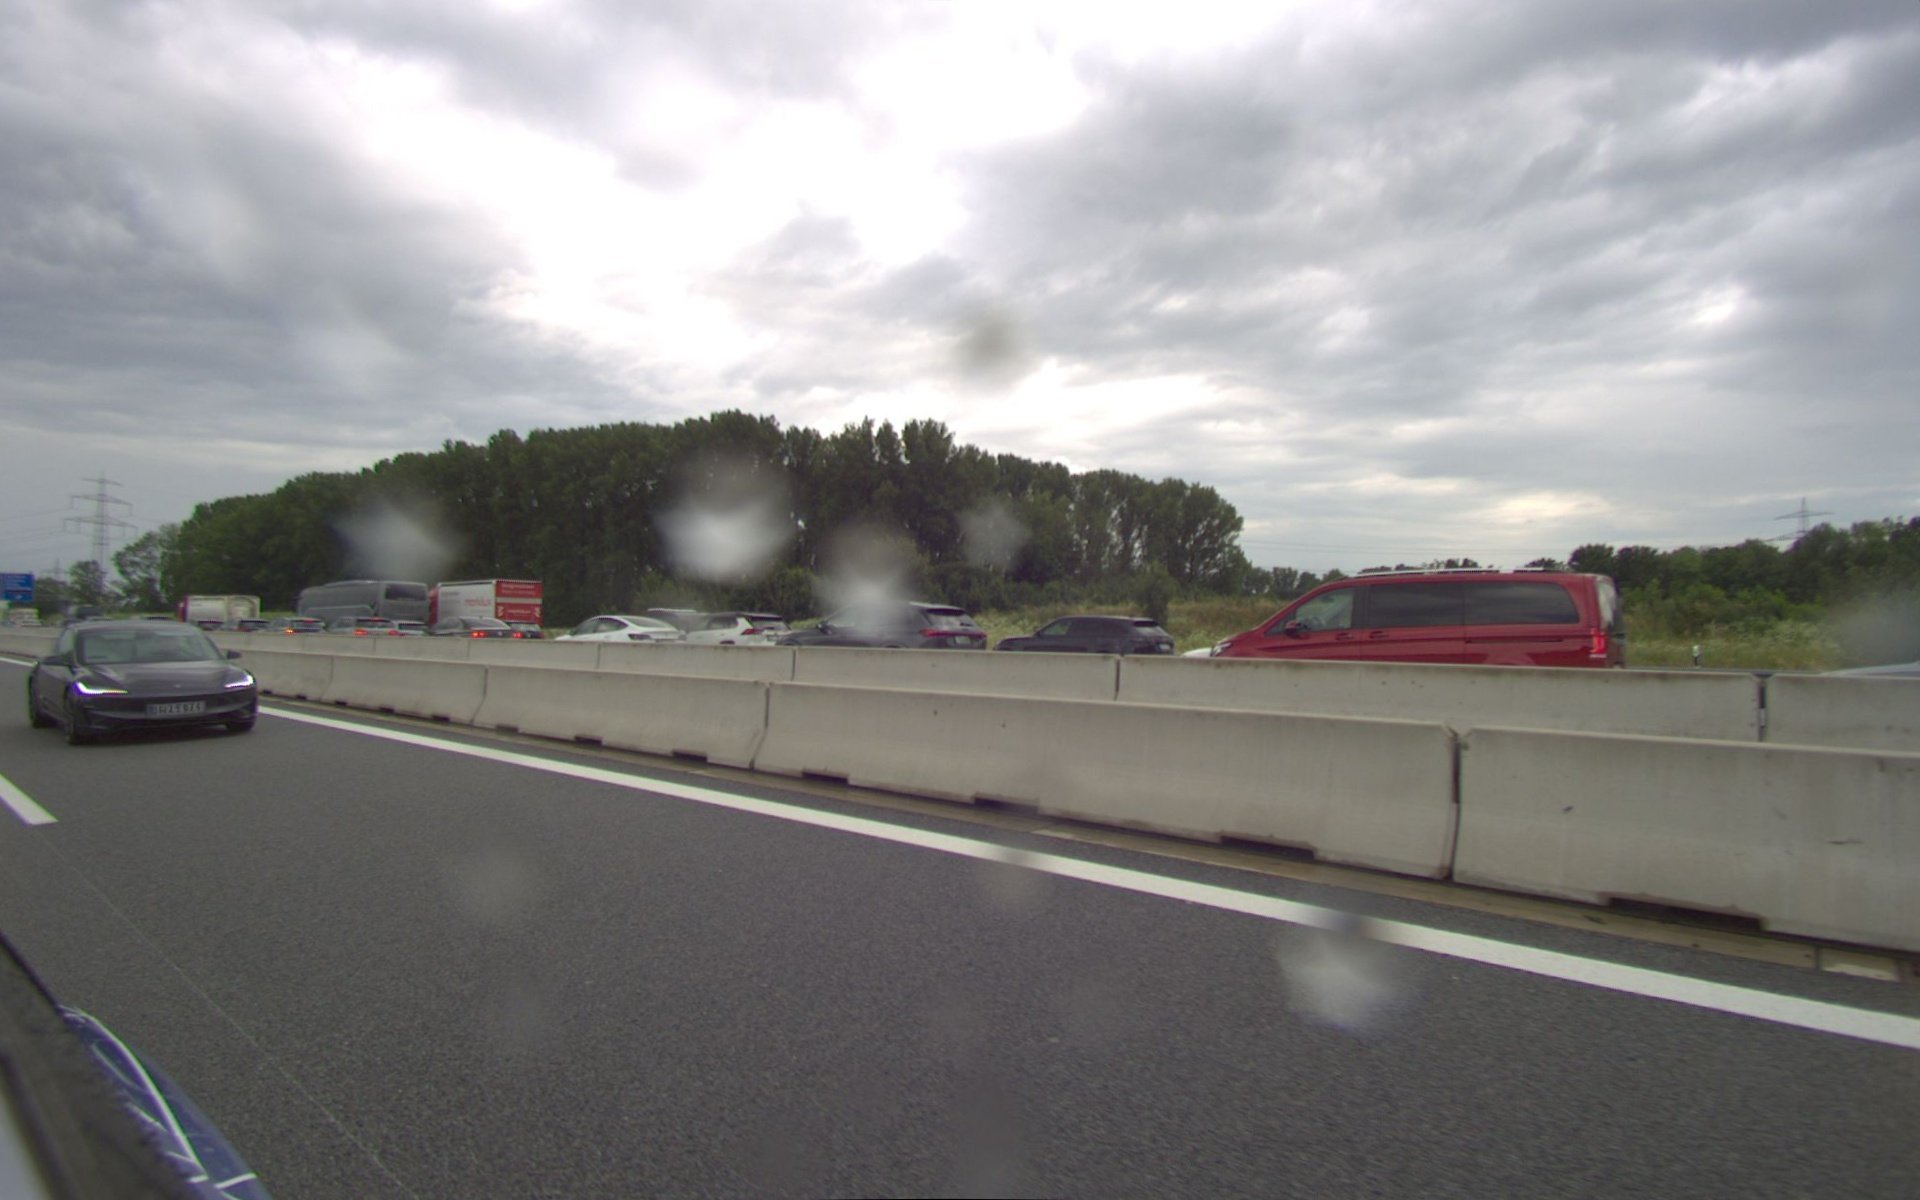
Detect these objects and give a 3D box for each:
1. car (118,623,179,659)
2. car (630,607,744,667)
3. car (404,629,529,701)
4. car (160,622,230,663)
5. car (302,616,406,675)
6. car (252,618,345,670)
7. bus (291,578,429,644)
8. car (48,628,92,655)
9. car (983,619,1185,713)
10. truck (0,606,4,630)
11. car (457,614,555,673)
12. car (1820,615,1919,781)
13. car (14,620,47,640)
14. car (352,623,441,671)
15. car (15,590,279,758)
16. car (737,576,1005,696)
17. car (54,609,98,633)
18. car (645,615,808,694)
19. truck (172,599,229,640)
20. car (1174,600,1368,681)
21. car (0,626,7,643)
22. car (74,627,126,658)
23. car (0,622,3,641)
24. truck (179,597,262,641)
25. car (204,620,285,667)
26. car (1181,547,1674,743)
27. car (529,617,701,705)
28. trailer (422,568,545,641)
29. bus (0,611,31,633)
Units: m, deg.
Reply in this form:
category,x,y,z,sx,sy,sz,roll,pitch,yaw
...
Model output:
category,x,y,z,sx,sy,sz,roll,pitch,yaw
car,-47.048,2.337,58.640,4.694,1.982,1.973,-1,-1,41
car,-9.863,1.308,36.415,3.998,2.029,2.094,-1,-1,41
car,-15.334,1.927,31.345,4.347,2.029,1.973,-1,-1,41
car,-39.016,2.111,51.590,4.694,1.982,1.973,-1,-1,41
car,-22.460,1.647,37.409,4.694,2.029,1.973,-1,-1,41
car,-26.900,1.734,41.102,4.694,1.982,1.973,-1,-1,41
bus,-34.723,0.707,58.154,13.991,3.411,2.659,-1,-1,41
car,-68.984,3.183,78.450,4.694,1.982,1.973,-1,-1,41
car,2.907,1.493,24.373,4.497,2.029,1.973,-1,-1,41
truck,-181.589,3.476,188.824,13.940,4.345,3.116,-1,-1,40
car,-16.779,1.556,37.360,3.709,2.029,1.973,-1,-1,41
car,12.817,1.125,11.599,4.472,1.914,1.973,-1,-1,41
car,-83.845,2.667,91.318,3.998,1.732,1.785,-1,-1,41
car,-24.865,2.005,44.564,4.694,1.982,1.973,-1,-1,41
car,-10.997,0.859,13.533,5.161,1.834,1.972,-1,-1,42
car,-1.866,0.652,19.597,5.416,2.029,1.973,-1,-1,41
car,-81.612,1.958,93.382,6.814,2.182,2.235,-1,-1,41
car,-6.663,1.456,28.551,4.970,2.029,1.973,-1,-1,41
truck,-71.866,1.857,95.780,6.315,3.740,3.117,-1,-1,41
car,8.437,1.054,27.704,4.684,2.029,1.973,-1,-1,41
car,-121.184,4.352,126.978,4.532,2.029,1.831,-1,-1,39
car,-57.212,2.773,67.289,4.694,1.982,1.973,-1,-1,41
car,-103.201,3.362,107.384,4.261,2.029,1.973,-1,-1,40
truck,-67.078,1.717,91.617,13.291,3.774,3.116,-1,-1,41
car,-32.554,1.938,45.991,4.694,1.982,1.973,-1,-1,41
car,5.760,0.520,13.019,5.416,2.029,1.973,-1,-1,41
car,-8.957,1.480,26.046,4.970,2.029,1.973,-1,-1,41
trailer,-26.912,0.338,56.873,9.156,3.791,2.830,-1,-2,41
bus,-151.716,3.570,162.366,9.958,3.358,2.802,-1,-1,41
